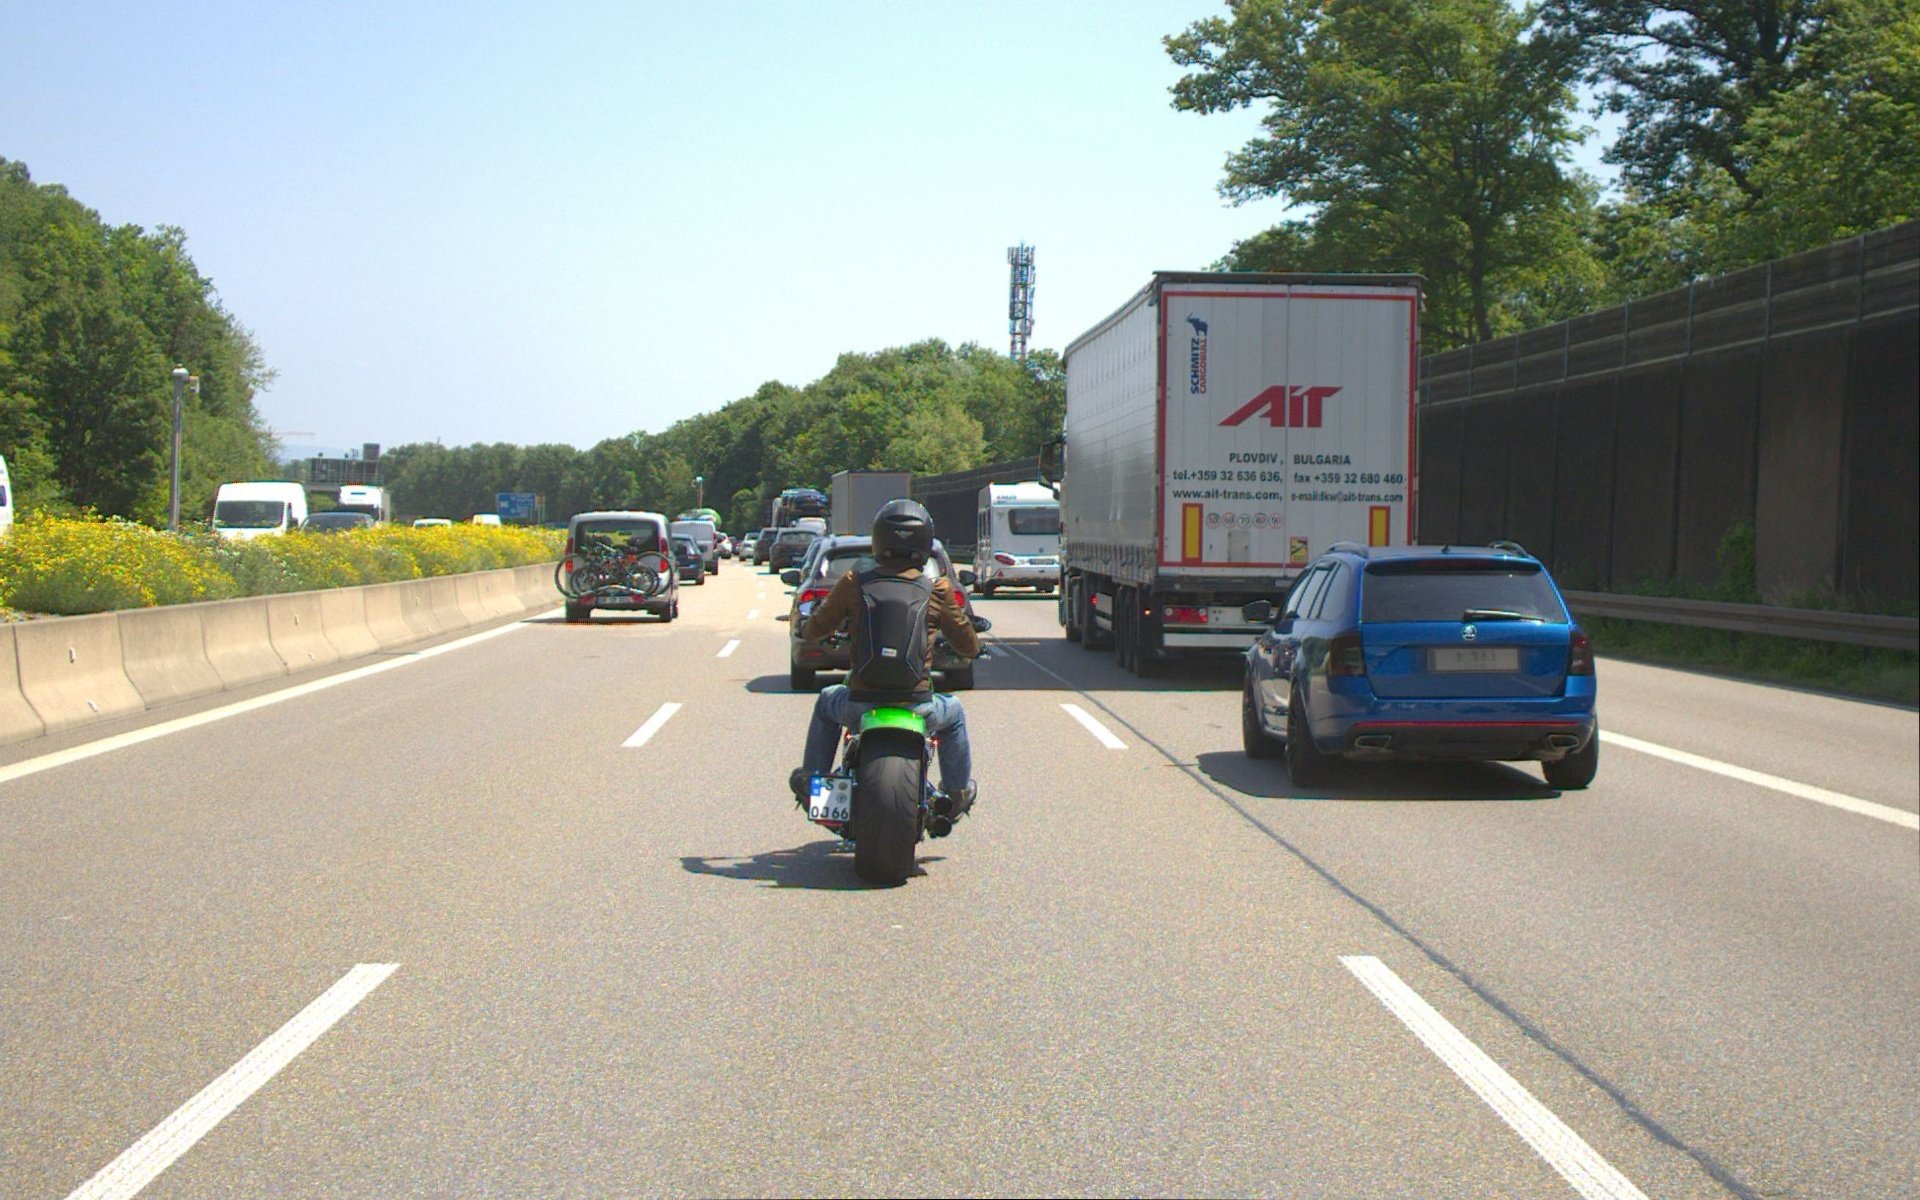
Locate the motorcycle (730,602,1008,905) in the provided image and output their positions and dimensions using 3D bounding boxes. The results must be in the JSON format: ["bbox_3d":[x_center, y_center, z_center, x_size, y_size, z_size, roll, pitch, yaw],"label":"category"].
[{"bbox_3d":[-0.347,0.616,15.217,0.965,1.144,2.811,1,1,4],"label":"motorcycle"}]

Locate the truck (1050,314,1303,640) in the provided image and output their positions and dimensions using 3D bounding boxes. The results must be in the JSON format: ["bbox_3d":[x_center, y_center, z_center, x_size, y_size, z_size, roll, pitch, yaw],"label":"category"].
[{"bbox_3d":[2.833,-1.619,46.732,2.885,4.132,5.986,0,1,-2],"label":"truck"}]

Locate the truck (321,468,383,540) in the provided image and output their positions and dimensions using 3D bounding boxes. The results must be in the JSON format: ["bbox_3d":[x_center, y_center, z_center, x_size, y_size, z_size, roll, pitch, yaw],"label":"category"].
[{"bbox_3d":[-35.902,-5.624,203.108,2.963,4.093,6.089,0,0,-4],"label":"truck"}]

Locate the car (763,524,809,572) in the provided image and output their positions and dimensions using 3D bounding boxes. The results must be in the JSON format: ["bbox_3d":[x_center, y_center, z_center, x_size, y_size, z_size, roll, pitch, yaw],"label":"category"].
[{"bbox_3d":[-7.606,-2.256,150.026,1.911,2.007,3.691,0,0,-5],"label":"car"}]

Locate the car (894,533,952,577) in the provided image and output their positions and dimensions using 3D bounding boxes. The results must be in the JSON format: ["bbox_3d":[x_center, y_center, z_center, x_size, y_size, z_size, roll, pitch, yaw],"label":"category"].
[{"bbox_3d":[-1.372,-1.638,126.242,1.993,1.568,4.000,0,0,-3],"label":"car"}]

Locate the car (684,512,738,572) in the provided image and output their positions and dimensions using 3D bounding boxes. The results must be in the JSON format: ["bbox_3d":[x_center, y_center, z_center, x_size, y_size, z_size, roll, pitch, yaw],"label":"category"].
[{"bbox_3d":[-8.559,-1.991,118.452,1.791,2.007,3.642,0,0,-3],"label":"car"}]

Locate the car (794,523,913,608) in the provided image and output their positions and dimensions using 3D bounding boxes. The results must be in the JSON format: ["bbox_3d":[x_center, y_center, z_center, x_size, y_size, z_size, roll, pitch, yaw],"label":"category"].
[{"bbox_3d":[-1.833,-0.583,59.804,1.993,1.425,3.847,0,0,-1],"label":"car"}]

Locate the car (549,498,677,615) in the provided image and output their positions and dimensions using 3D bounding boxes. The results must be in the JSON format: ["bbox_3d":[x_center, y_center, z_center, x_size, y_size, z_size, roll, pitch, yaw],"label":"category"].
[{"bbox_3d":[-5.743,-0.700,57.351,1.899,1.867,4.413,0,0,-3],"label":"car"}]

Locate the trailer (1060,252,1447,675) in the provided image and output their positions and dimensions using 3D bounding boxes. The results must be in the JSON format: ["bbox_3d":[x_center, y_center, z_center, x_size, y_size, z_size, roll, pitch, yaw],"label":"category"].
[{"bbox_3d":[3.004,-1.431,39.766,2.885,4.024,13.796,0,1,-2],"label":"trailer"}]

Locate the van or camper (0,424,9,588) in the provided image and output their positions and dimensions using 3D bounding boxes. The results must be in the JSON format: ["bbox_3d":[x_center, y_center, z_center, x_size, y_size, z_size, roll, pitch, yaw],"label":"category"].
[{"bbox_3d":[-20.485,-1.893,65.381,2.539,3.306,9.003,0,0,-2],"label":"van or camper"}]

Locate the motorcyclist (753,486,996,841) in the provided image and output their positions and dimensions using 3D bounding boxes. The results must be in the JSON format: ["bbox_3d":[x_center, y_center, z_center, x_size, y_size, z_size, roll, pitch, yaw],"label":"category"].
[{"bbox_3d":[-0.346,0.262,15.224,0.900,1.470,1.872,0,0,4],"label":"motorcyclist"}]

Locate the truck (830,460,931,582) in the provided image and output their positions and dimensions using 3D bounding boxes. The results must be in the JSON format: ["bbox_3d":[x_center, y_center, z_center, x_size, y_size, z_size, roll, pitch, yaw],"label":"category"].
[{"bbox_3d":[-3.410,-3.241,144.509,3.802,4.943,8.952,0,0,-4],"label":"truck"}]

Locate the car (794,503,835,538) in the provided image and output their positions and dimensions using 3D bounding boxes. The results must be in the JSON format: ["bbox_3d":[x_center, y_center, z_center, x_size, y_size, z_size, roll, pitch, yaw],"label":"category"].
[{"bbox_3d":[-8.268,-4.511,195.328,2.107,1.870,4.001,0,0,-5],"label":"car"}]

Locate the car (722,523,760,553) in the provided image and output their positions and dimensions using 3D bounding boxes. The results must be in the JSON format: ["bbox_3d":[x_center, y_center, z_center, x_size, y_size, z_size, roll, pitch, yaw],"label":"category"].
[{"bbox_3d":[-11.186,-3.171,175.889,1.832,1.491,3.744,0,0,-2],"label":"car"}]

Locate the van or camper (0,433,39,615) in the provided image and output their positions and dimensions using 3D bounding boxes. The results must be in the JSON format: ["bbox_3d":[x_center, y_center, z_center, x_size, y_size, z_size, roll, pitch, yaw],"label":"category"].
[{"bbox_3d":[-16.346,-1.195,53.767,2.257,2.889,6.557,0,1,-1],"label":"van or camper"}]

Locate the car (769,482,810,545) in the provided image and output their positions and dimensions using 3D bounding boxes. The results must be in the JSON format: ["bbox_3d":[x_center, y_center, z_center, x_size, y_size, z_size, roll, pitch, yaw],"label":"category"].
[{"bbox_3d":[-10.667,-5.386,214.840,2.133,3.848,8.144,1,1,-6],"label":"car"}]

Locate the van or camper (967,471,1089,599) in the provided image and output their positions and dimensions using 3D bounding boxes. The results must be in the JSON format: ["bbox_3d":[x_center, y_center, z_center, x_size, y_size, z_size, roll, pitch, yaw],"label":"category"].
[{"bbox_3d":[1.514,-1.431,79.161,2.685,2.803,6.803,0,0,0],"label":"van or camper"}]

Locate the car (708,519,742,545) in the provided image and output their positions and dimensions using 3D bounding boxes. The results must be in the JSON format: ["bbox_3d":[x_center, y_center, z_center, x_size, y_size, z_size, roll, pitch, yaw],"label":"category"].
[{"bbox_3d":[-13.931,-4.040,204.233,1.832,1.491,3.744,0,0,-1],"label":"car"}]

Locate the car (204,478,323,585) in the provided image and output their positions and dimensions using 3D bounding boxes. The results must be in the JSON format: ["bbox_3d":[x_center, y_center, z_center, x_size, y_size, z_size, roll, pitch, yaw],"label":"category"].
[{"bbox_3d":[-18.372,-1.818,90.922,2.200,2.732,5.748,0,1,-2],"label":"car"}]

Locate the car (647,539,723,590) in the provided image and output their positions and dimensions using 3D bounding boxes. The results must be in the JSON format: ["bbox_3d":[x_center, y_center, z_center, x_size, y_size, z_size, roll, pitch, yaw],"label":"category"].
[{"bbox_3d":[-7.686,-0.982,96.472,1.993,1.382,4.000,0,0,-3],"label":"car"}]

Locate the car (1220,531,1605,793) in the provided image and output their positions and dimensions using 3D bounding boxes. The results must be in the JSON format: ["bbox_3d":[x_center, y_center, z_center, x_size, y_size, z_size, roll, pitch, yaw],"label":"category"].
[{"bbox_3d":[2.737,0.348,21.733,1.650,1.477,4.482,0,0,-2],"label":"car"}]

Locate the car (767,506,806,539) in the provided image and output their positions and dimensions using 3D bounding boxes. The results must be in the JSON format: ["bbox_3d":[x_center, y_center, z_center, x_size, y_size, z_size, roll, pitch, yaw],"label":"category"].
[{"bbox_3d":[-10.142,-4.525,201.106,2.107,1.870,4.001,0,0,-5],"label":"car"}]

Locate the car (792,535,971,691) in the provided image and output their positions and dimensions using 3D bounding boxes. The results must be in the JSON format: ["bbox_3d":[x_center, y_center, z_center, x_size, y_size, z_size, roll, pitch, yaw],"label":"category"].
[{"bbox_3d":[-0.800,0.117,33.855,1.662,1.448,3.869,0,0,-2],"label":"car"}]

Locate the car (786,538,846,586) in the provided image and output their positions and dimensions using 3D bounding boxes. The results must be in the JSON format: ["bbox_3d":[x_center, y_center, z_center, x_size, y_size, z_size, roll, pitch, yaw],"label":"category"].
[{"bbox_3d":[-5.068,-1.330,120.475,1.993,1.634,4.000,0,0,-4],"label":"car"}]
